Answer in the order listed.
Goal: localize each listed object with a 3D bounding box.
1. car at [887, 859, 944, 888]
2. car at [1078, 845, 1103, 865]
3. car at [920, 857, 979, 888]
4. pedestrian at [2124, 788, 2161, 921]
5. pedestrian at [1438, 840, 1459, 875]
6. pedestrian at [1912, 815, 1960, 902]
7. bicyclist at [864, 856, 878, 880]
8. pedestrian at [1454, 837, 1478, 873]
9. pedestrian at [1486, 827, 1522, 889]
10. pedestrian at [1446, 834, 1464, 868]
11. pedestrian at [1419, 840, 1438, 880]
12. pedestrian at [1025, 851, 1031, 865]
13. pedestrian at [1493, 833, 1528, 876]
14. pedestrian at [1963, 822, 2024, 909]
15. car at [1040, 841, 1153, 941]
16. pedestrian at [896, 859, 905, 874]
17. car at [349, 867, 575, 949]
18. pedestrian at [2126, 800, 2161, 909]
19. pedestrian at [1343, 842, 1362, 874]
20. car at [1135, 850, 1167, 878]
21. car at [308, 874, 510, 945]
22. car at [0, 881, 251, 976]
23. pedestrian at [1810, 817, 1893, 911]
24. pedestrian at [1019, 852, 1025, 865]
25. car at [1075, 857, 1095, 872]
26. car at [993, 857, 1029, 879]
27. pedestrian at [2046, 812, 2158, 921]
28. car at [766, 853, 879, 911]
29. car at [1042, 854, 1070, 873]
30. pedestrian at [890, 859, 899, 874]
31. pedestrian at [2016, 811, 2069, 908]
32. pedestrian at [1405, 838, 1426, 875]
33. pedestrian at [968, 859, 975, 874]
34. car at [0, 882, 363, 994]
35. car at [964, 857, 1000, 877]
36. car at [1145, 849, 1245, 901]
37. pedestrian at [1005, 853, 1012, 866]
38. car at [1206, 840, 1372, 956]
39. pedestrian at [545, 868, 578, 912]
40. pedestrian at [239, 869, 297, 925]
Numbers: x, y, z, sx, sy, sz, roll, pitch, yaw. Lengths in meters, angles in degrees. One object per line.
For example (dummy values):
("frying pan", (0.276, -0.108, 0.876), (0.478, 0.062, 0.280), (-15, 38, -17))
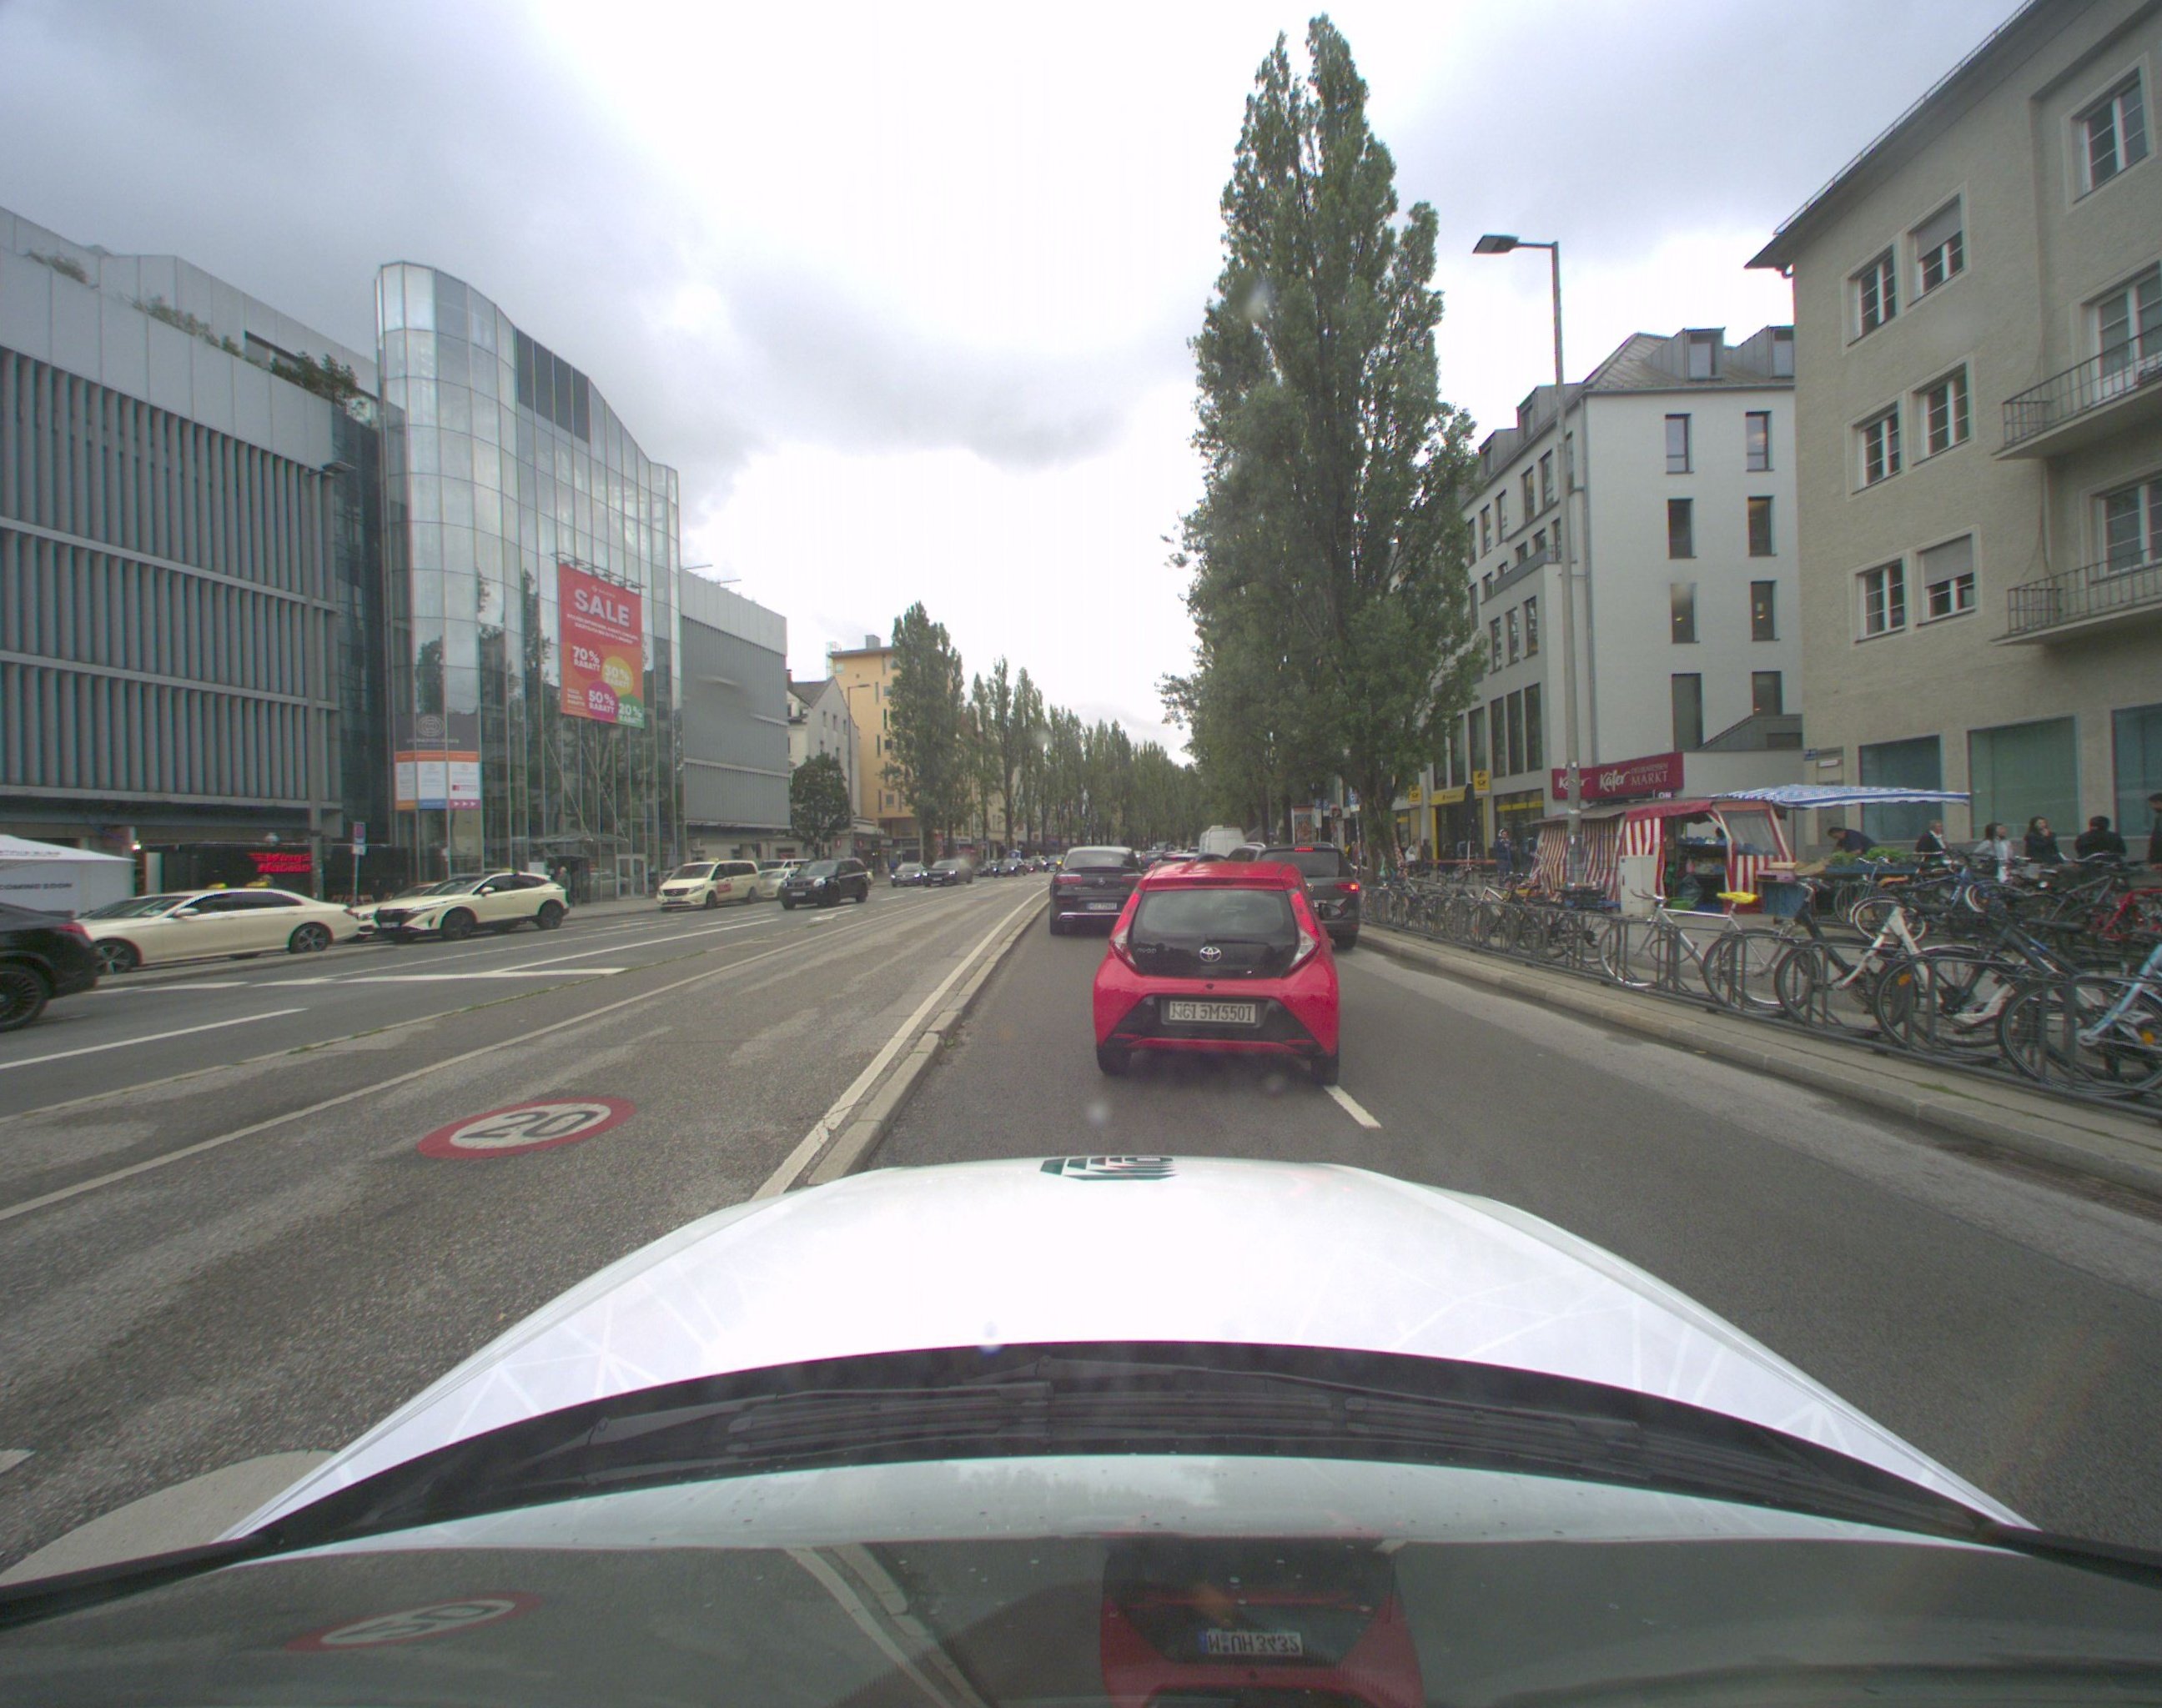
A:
("car", (-9.984, 1.122, 49.530), (1.949, 1.546, 4.956), (-3, 0, 6))
("car", (1.359, 0.117, 110.980), (2.155, 2.605, 6.085), (-2, 0, 13))
("car", (-7.305, 0.996, 45.827), (1.984, 1.507, 5.030), (-2, 0, 6))
("pedestrian", (15.230, 0.000, 11.261), (0.716, 1.829, 0.726), (-2, 0, -14))
("pedestrian", (16.099, 0.154, 35.673), (0.641, 1.476, 0.764), (-1, -1, 39))
("pedestrian", (16.766, 0.082, 15.970), (0.542, 1.674, 0.500), (0, -1, -27))
("bicyclist", (-14.342, 0.963, 55.602), (0.499, 1.592, 0.838), (-2, 0, 14))
("pedestrian", (17.317, 0.047, 36.616), (0.688, 1.585, 0.773), (-2, 0, 1))
("pedestrian", (12.453, 0.129, 23.995), (0.789, 1.795, 0.573), (0, -1, 7))
("pedestrian", (18.734, -0.138, 40.818), (0.685, 1.649, 0.802), (-2, 0, 17))
("pedestrian", (15.177, 0.245, 35.561), (0.576, 1.701, 0.598), (-3, 0, 9))
("pedestrian", (-7.542, 0.584, 116.838), (0.634, 1.862, 0.650), (-2, 0, 13))
("pedestrian", (16.907, 0.026, 32.109), (0.797, 1.637, 1.023), (-2, 0, 1))
("pedestrian", (16.387, 0.204, 14.632), (0.557, 1.540, 0.466), (0, -1, 1))
("car", (0.346, 0.630, 16.225), (1.873, 1.642, 4.585), (-2, 0, 2))
("pedestrian", (-17.509, 1.181, 79.035), (0.630, 1.434, 0.778), (-2, 0, 0))
("car", (-15.657, 1.294, 20.950), (1.873, 1.698, 4.397), (-3, 0, 12))
("pedestrian", (15.861, -0.006, 11.894), (0.546, 1.565, 0.658), (-2, 0, 37))
("pedestrian", (15.369, 0.221, 46.108), (0.712, 1.724, 0.745), (-3, 0, 38))
("car", (4.130, 0.595, 48.650), (1.752, 1.619, 3.749), (0, -1, 3))
("car", (-18.180, 1.433, 22.296), (1.760, 1.616, 4.012), (-2, 0, 11))
("car", (-19.736, 1.416, 16.336), (1.742, 1.536, 4.010), (-2, 0, 9))
("pedestrian", (14.153, 0.177, 14.980), (0.791, 1.673, 0.729), (-2, 0, 0))
("pedestrian", (-8.465, 0.596, 116.884), (0.634, 1.862, 0.650), (-2, 0, 13))
("car", (0.444, 1.134, 90.992), (1.809, 1.545, 4.005), (-4, 0, 4))
("car", (-5.269, 1.032, 61.927), (1.826, 1.487, 4.743), (-2, 0, 6))
("pedestrian", (15.008, 0.176, 11.992), (0.674, 1.528, 0.730), (-2, 0, 2))
("car", (-8.995, 0.921, 28.789), (1.983, 1.777, 4.608), (-2, 0, 7))
("car", (-2.319, 0.830, 76.901), (1.984, 1.621, 4.419), (-3, 0, 5))
("pedestrian", (-18.126, 1.186, 79.016), (0.630, 1.434, 0.778), (-2, 0, 0))
("pedestrian", (17.054, 0.093, 14.447), (0.527, 1.673, 0.469), (0, -1, -24))
("pedestrian", (14.475, 0.110, 35.271), (0.638, 1.583, 0.636), (-3, 0, 9))
("pedestrian", (-12.786, 1.458, 95.293), (0.535, 1.747, 0.758), (-1, 0, 13))
("car", (-16.869, 1.425, 15.296), (1.934, 1.540, 4.862), (-2, 0, 10))
("car", (-8.028, 1.017, 66.408), (1.719, 1.409, 4.698), (-2, 0, 8))
("car", (3.503, 0.612, 24.700), (1.529, 1.460, 3.456), (-1, -1, 36))
("pedestrian", (-9.599, 0.754, 107.787), (0.634, 1.700, 0.650), (-2, 0, 13))
("car", (3.284, 0.621, 13.679), (1.755, 1.613, 4.184), (-1, 0, 1))
("pedestrian", (-22.044, 1.506, 34.582), (0.783, 1.805, 0.821), (-2, 0, 13))
("pedestrian", (-23.434, 1.226, 23.481), (0.726, 1.545, 0.902), (-2, 0, 14))
